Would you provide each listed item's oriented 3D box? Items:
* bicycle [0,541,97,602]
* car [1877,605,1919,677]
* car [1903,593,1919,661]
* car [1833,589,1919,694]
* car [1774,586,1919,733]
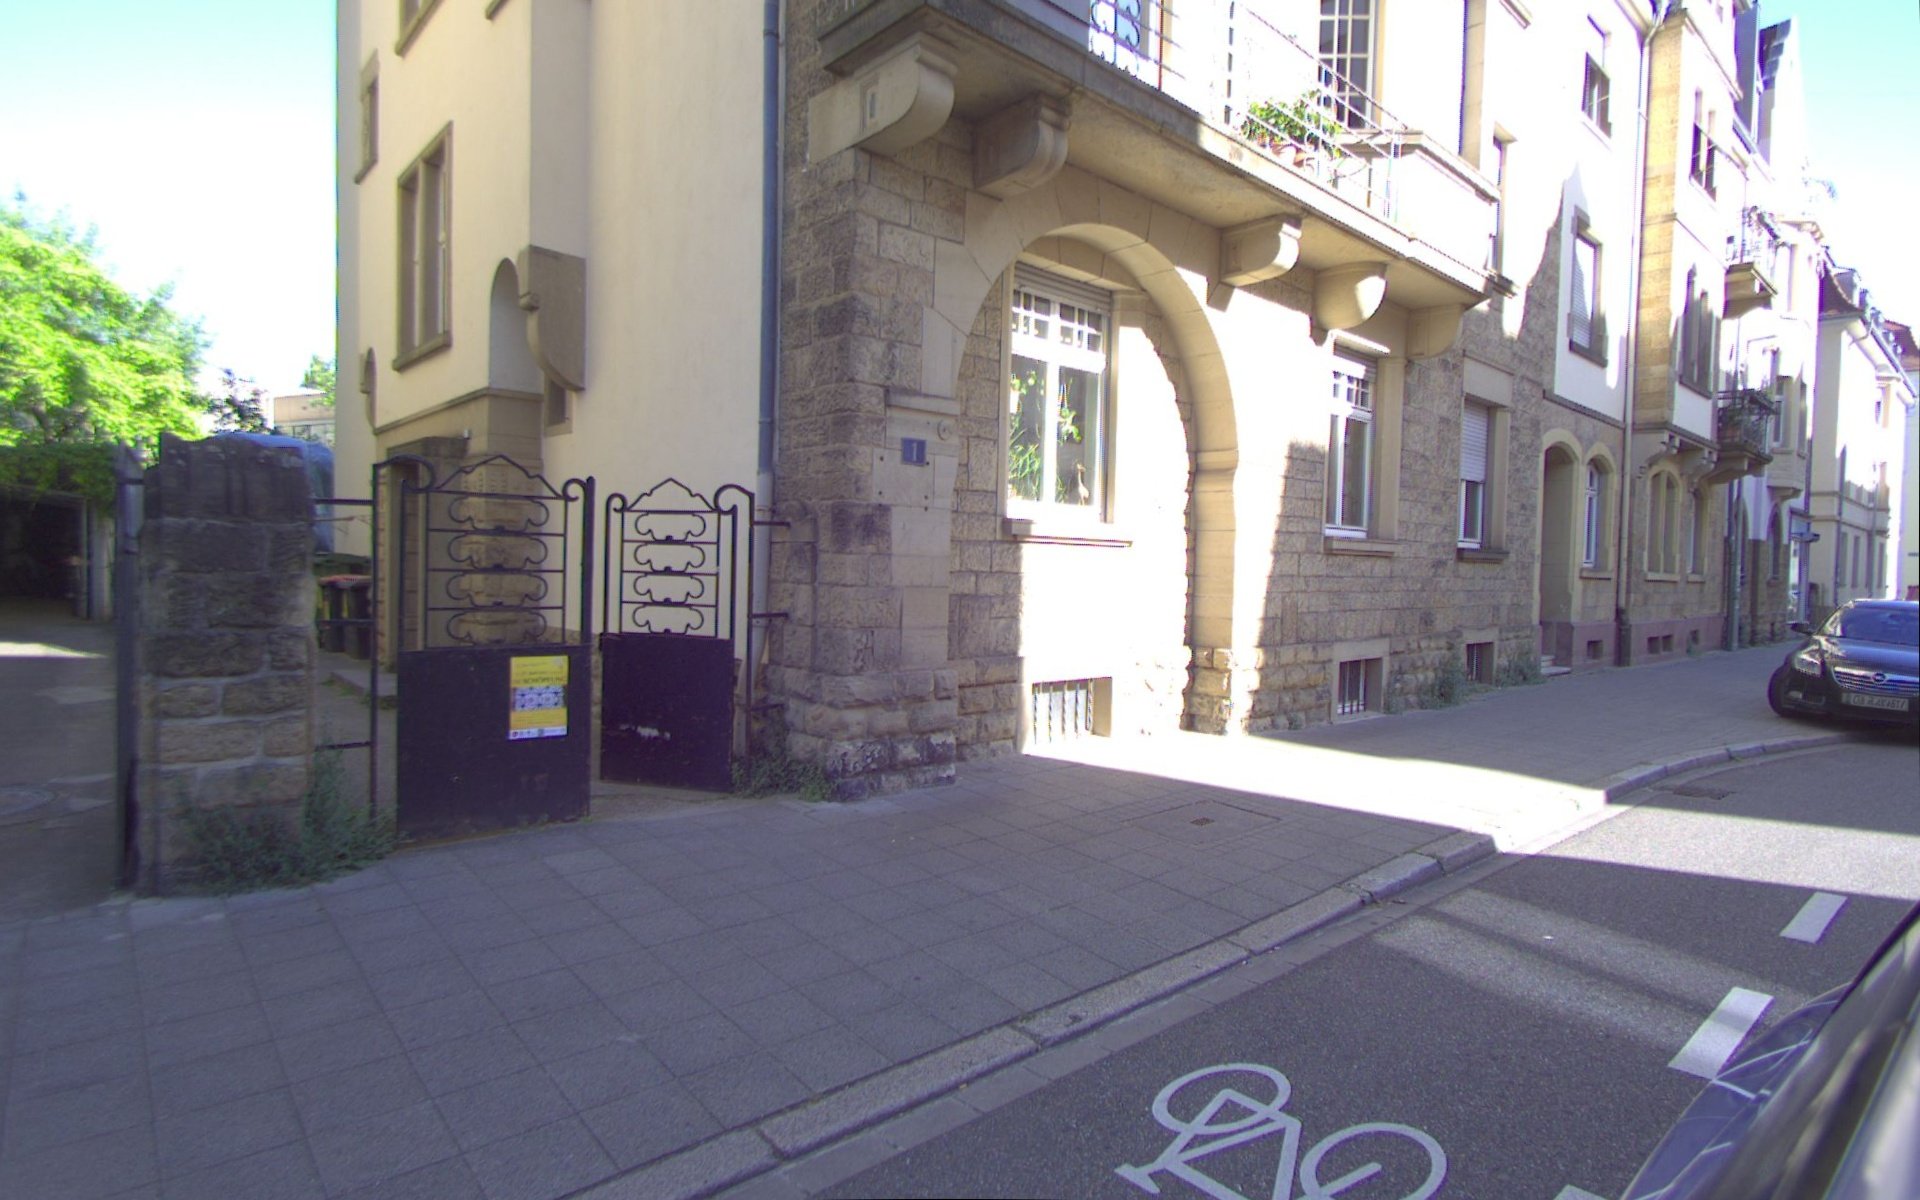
[{"bbox_3d":[-18.566,-0.602,20.273,2.834,1.124,0.865,3,2,25],"label":"bicycle"},{"bbox_3d":[18.974,0.759,19.425,3.874,1.270,1.695,0,1,-43],"label":"car"},{"bbox_3d":[22.230,0.592,22.462,1.787,1.447,3.746,3,2,44],"label":"car"},{"bbox_3d":[15.192,0.598,15.963,4.186,1.460,1.654,0,3,-43],"label":"car"},{"bbox_3d":[11.372,0.622,12.123,4.265,1.480,1.869,0,3,-43],"label":"car"}]
